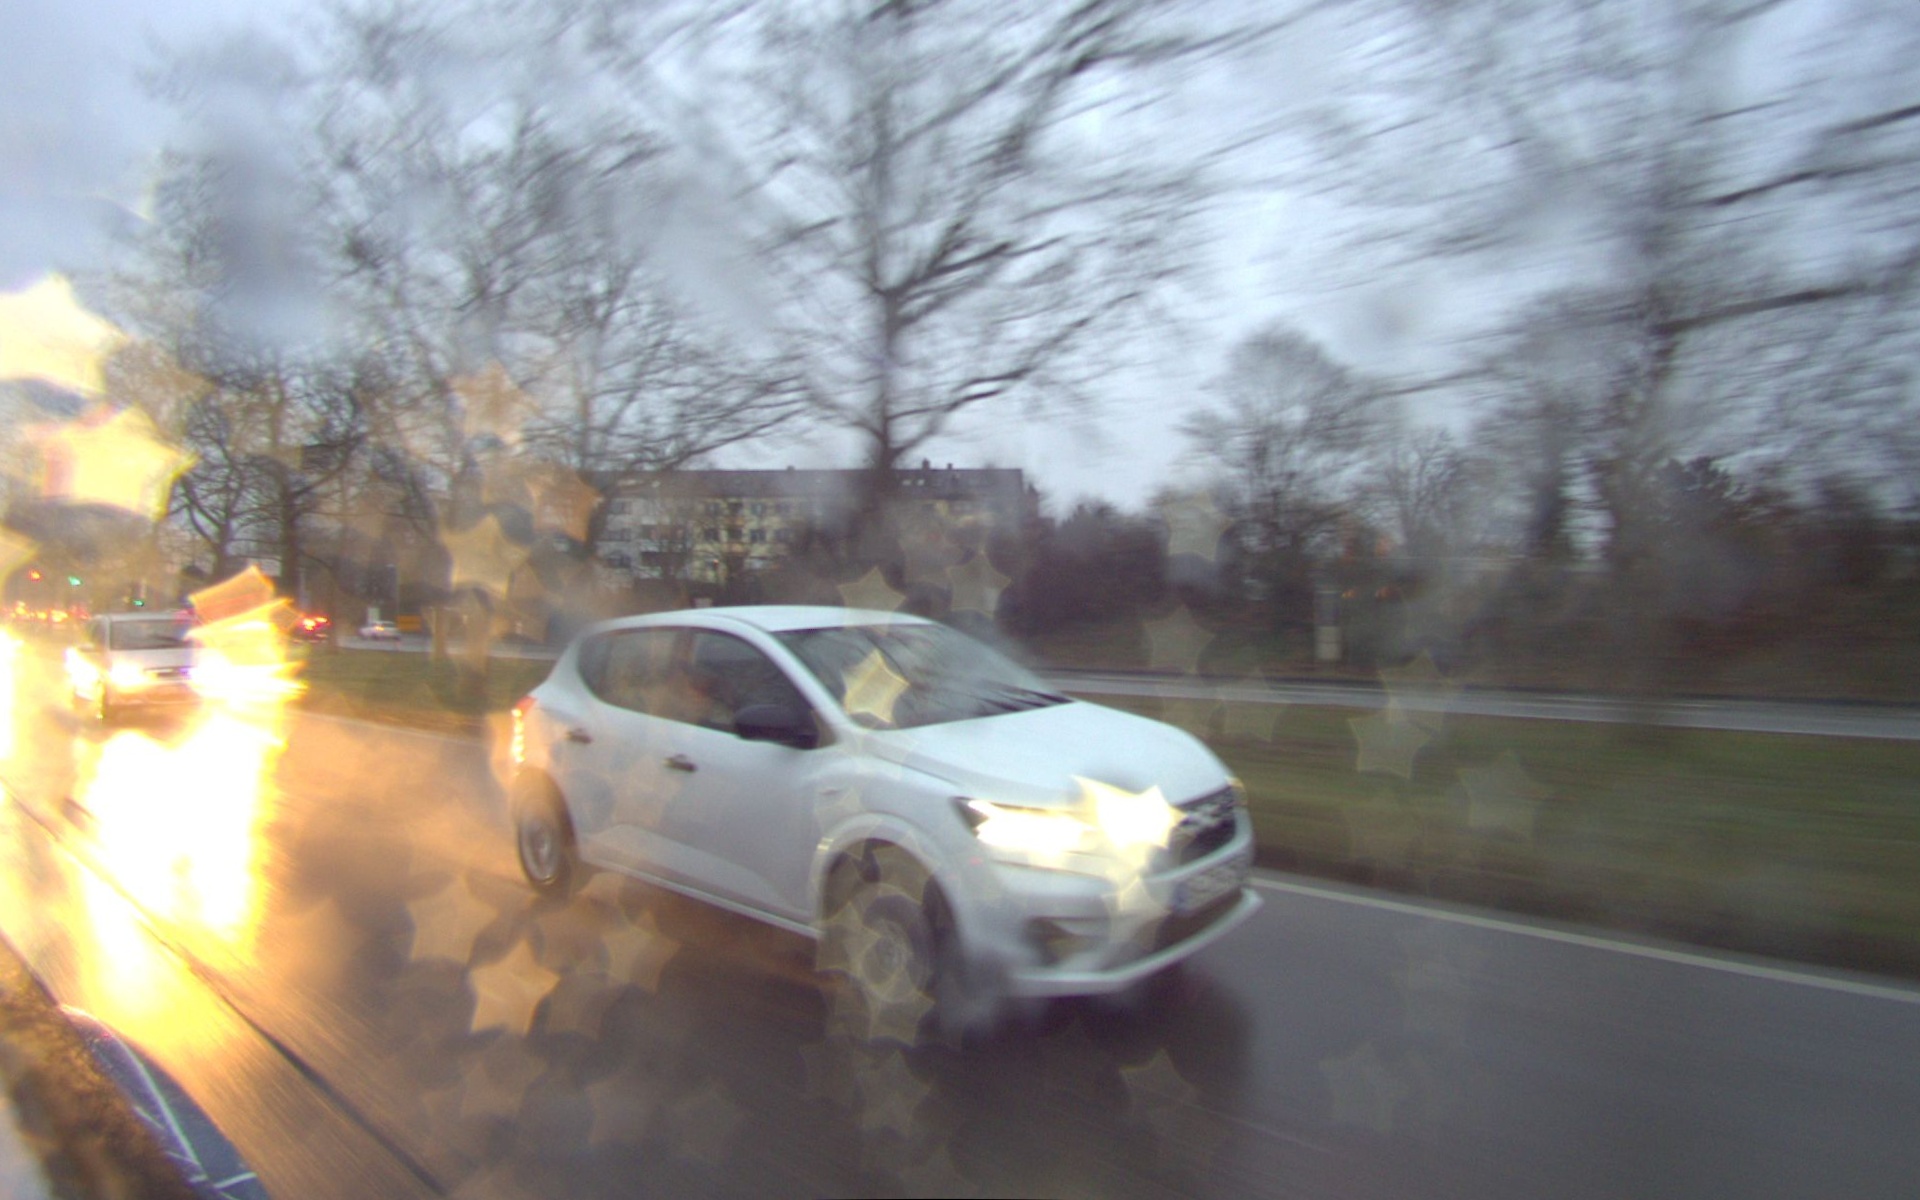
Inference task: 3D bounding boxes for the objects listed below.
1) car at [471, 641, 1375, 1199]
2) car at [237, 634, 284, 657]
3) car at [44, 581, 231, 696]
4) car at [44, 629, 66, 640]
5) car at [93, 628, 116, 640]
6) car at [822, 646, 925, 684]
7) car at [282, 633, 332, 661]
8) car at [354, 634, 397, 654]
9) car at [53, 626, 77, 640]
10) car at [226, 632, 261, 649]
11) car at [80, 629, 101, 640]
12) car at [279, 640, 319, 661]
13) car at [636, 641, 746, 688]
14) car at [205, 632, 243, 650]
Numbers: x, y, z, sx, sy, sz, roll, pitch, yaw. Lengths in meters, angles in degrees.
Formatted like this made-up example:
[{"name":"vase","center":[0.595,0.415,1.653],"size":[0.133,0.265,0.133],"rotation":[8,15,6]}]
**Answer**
[{"name":"car","center":[-0.520,0.928,4.722],"size":[4.225,1.451,1.705],"rotation":[-2,-3,42]},{"name":"car","center":[-49.653,3.243,71.850],"size":[4.377,1.545,1.764],"rotation":[-1,-3,42]},{"name":"car","center":[-13.288,0.597,16.259],"size":[4.165,1.611,1.742],"rotation":[-1,-3,43]},{"name":"car","center":[-105.941,3.985,118.448],"size":[3.999,1.206,1.440],"rotation":[-1,-1,42]},{"name":"car","center":[-99.042,3.940,117.172],"size":[3.999,1.321,1.520],"rotation":[-1,-3,42]},{"name":"car","center":[-3.312,2.427,38.348],"size":[4.105,1.312,1.561],"rotation":[-1,-3,44]},{"name":"car","center":[-40.609,2.893,62.932],"size":[3.980,1.694,1.600],"rotation":[-2,-3,42]},{"name":"car","center":[-43.796,3.289,75.848],"size":[1.728,1.405,4.302],"rotation":[3,-3,-45]},{"name":"car","center":[-101.525,3.737,114.806],"size":[3.999,1.515,1.553],"rotation":[-1,-1,42]},{"name":"car","center":[-66.017,3.755,93.273],"size":[4.271,1.500,1.700],"rotation":[-1,-3,42]},{"name":"car","center":[-109.232,4.331,127.163],"size":[3.999,1.302,1.520],"rotation":[-1,-3,42]},{"name":"car","center":[-50.479,3.856,77.245],"size":[3.790,1.479,1.614],"rotation":[-1,-3,42]},{"name":"car","center":[-9.169,2.137,34.370],"size":[3.977,1.436,1.730],"rotation":[-1,-3,42]},{"name":"car","center":[-58.063,3.216,79.784],"size":[3.955,1.364,1.631],"rotation":[-1,-3,42]}]
